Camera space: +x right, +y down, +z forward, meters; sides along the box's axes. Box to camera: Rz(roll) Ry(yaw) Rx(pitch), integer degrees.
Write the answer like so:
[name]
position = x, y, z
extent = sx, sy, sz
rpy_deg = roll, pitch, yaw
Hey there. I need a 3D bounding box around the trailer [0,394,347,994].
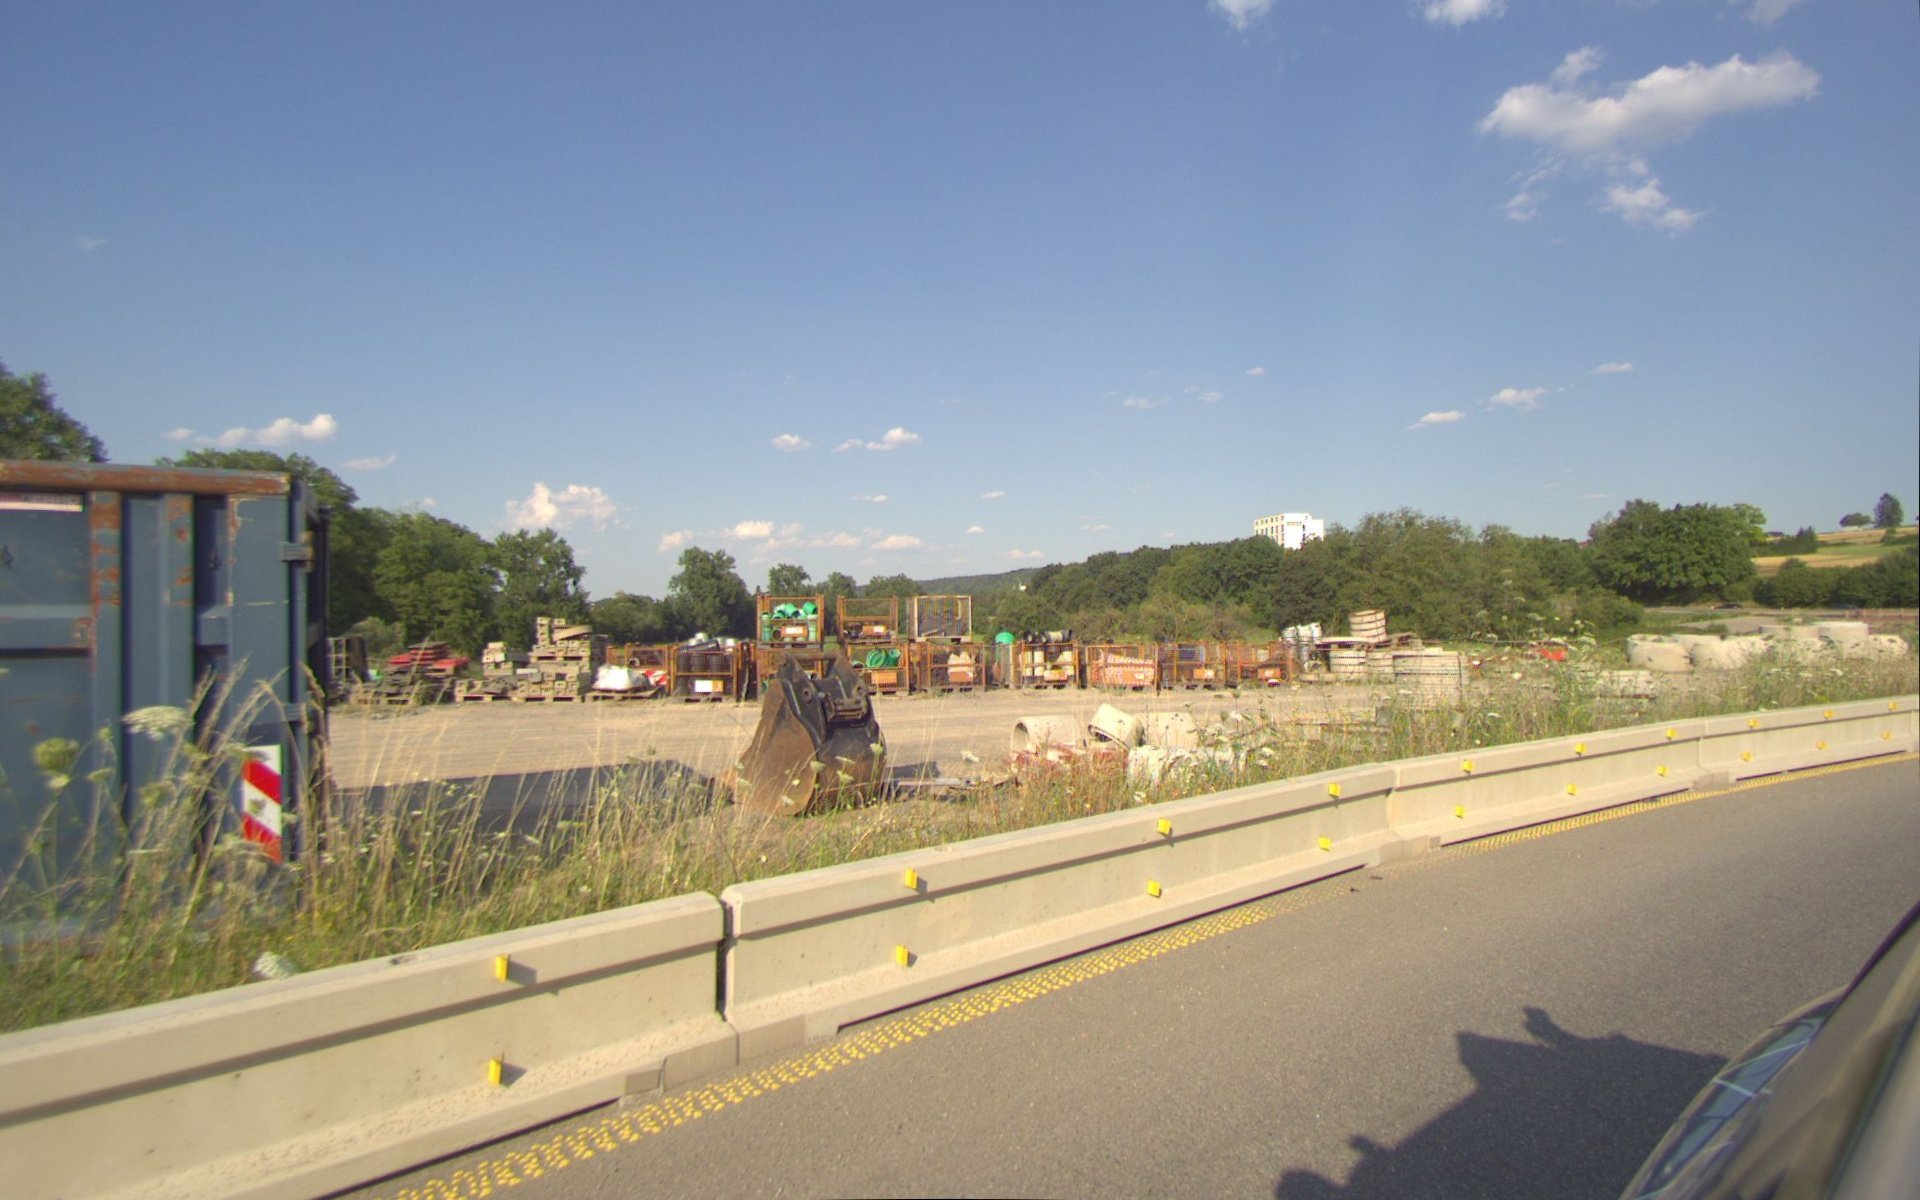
[trailer]
position = -6.695, 0.430, 4.190
extent = 7.086, 2.445, 3.015
rpy_deg = -1, -1, -31
